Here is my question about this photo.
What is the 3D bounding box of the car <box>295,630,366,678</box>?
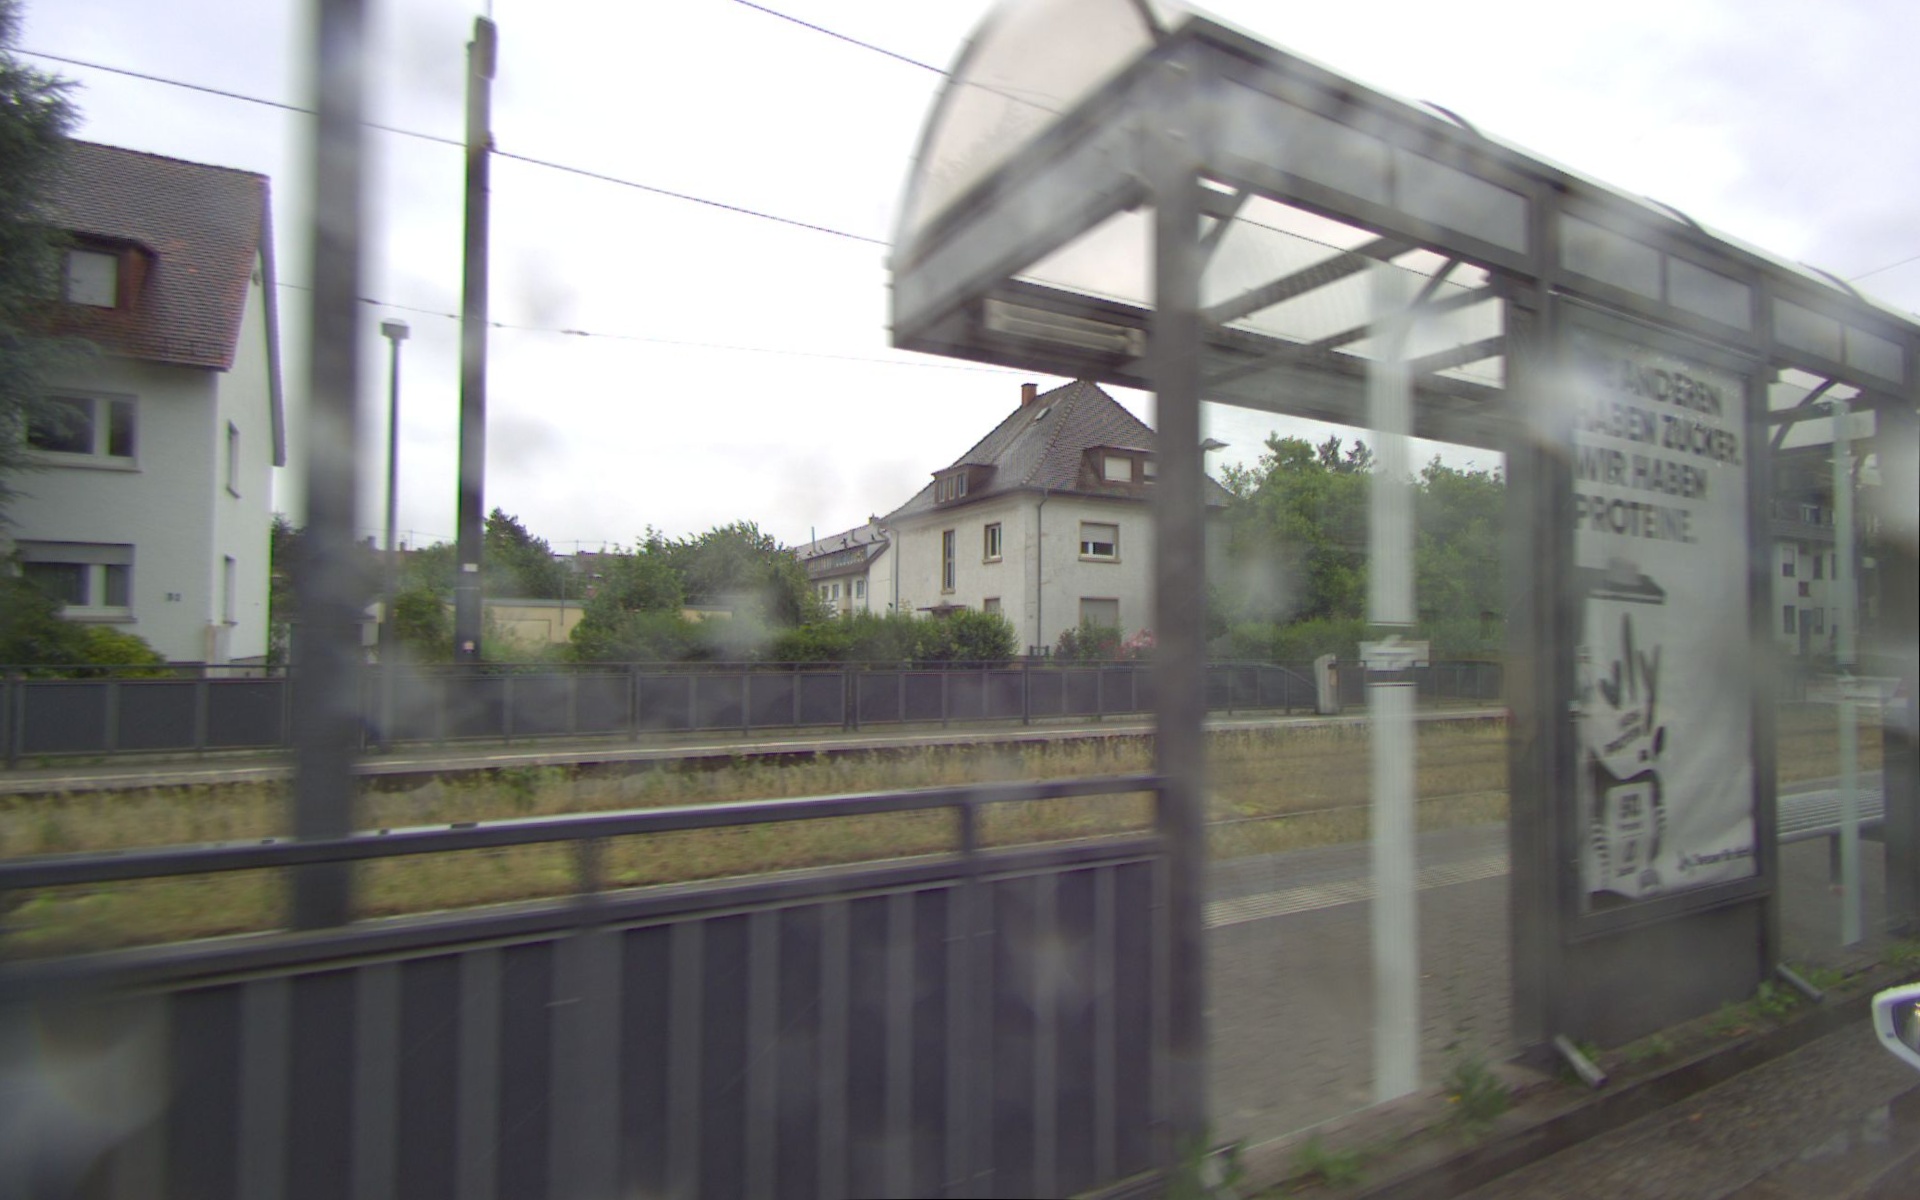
[{"bbox_3d":[-22.937,1.948,36.736,1.977,1.594,3.968,3,-2,-30],"label":"car"}]
